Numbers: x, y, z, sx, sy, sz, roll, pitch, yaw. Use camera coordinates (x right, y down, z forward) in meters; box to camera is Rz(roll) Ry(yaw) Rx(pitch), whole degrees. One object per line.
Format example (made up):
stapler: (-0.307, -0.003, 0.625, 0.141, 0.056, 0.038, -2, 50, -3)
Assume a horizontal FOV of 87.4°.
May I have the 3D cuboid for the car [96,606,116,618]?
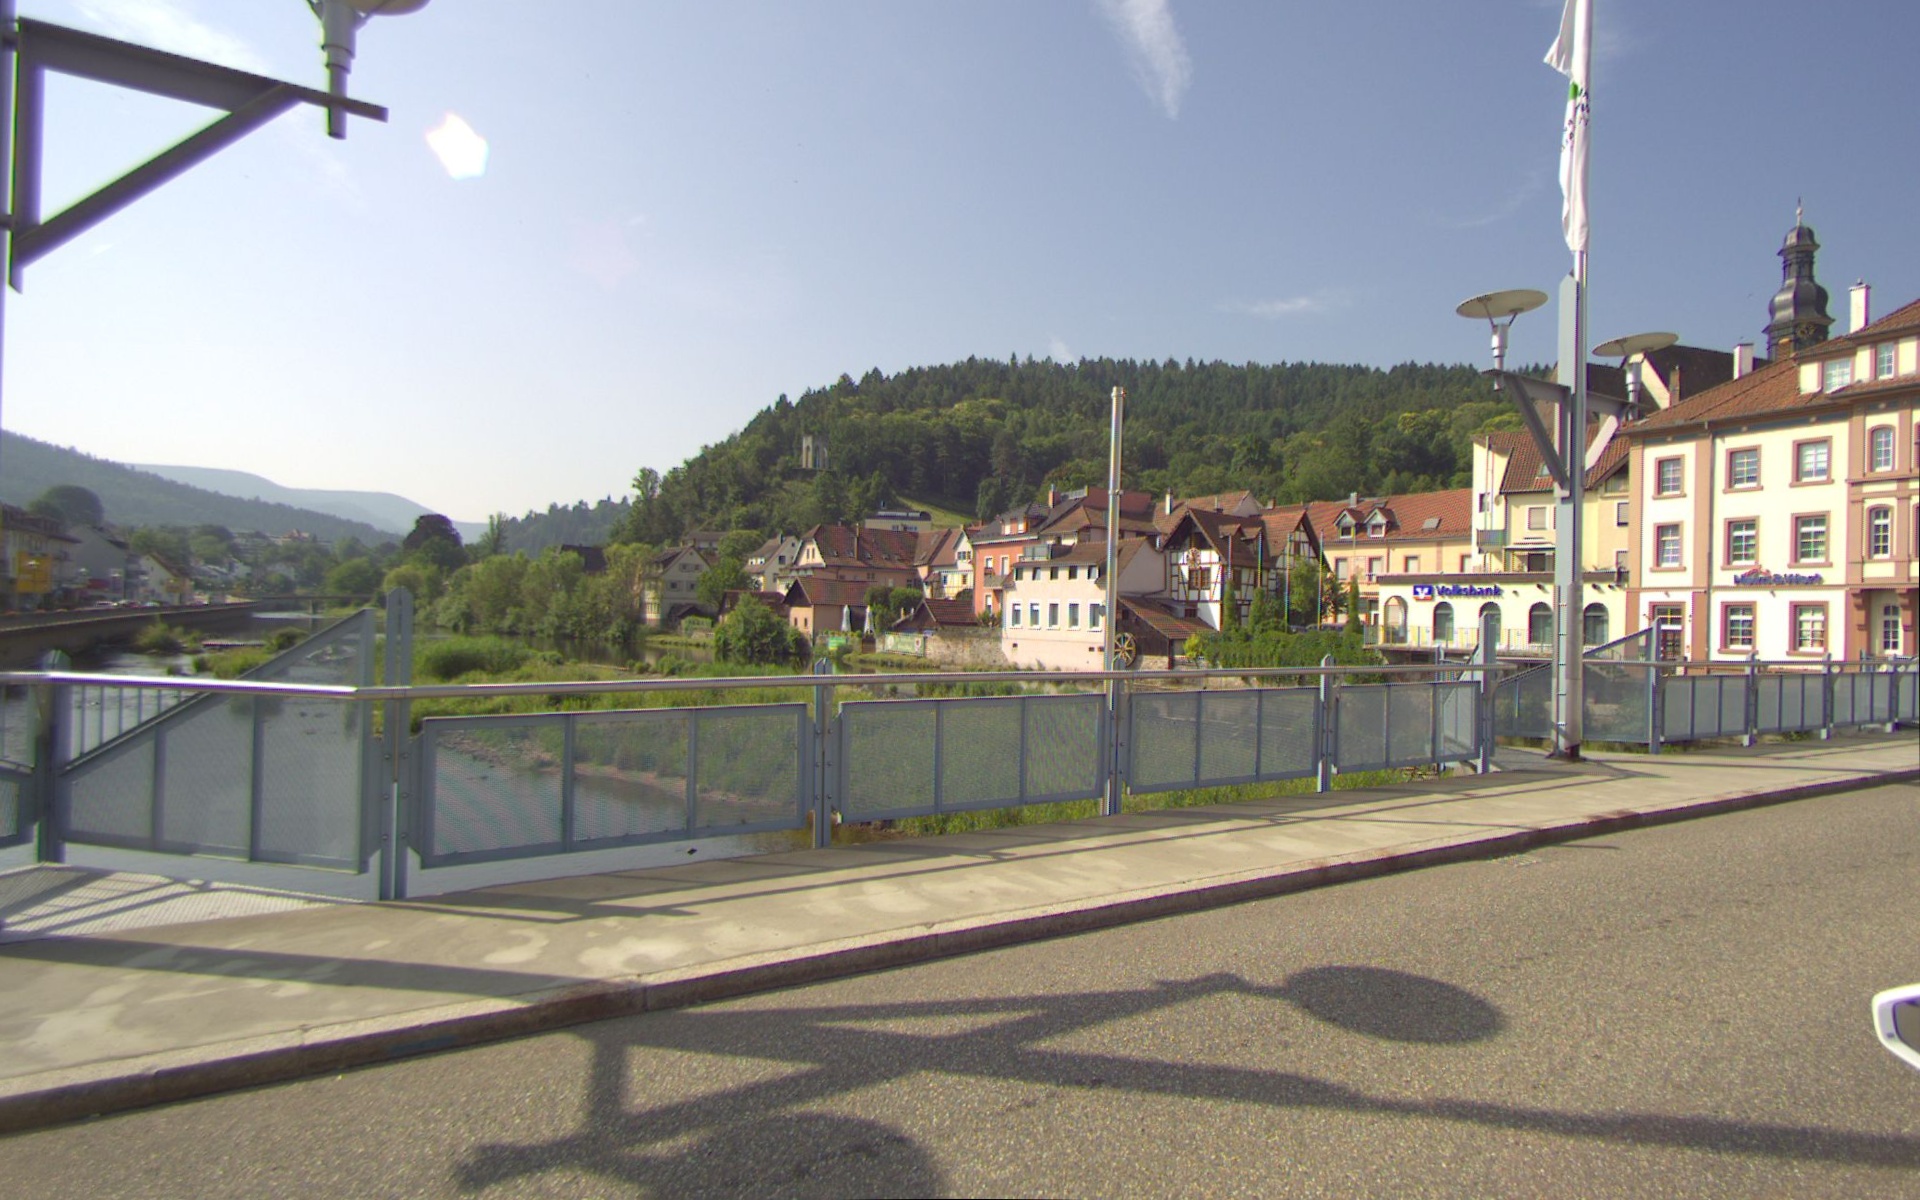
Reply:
car: (-106.577, 1.515, 125.403, 1.502, 1.467, 3.247, 1, -1, -33)
